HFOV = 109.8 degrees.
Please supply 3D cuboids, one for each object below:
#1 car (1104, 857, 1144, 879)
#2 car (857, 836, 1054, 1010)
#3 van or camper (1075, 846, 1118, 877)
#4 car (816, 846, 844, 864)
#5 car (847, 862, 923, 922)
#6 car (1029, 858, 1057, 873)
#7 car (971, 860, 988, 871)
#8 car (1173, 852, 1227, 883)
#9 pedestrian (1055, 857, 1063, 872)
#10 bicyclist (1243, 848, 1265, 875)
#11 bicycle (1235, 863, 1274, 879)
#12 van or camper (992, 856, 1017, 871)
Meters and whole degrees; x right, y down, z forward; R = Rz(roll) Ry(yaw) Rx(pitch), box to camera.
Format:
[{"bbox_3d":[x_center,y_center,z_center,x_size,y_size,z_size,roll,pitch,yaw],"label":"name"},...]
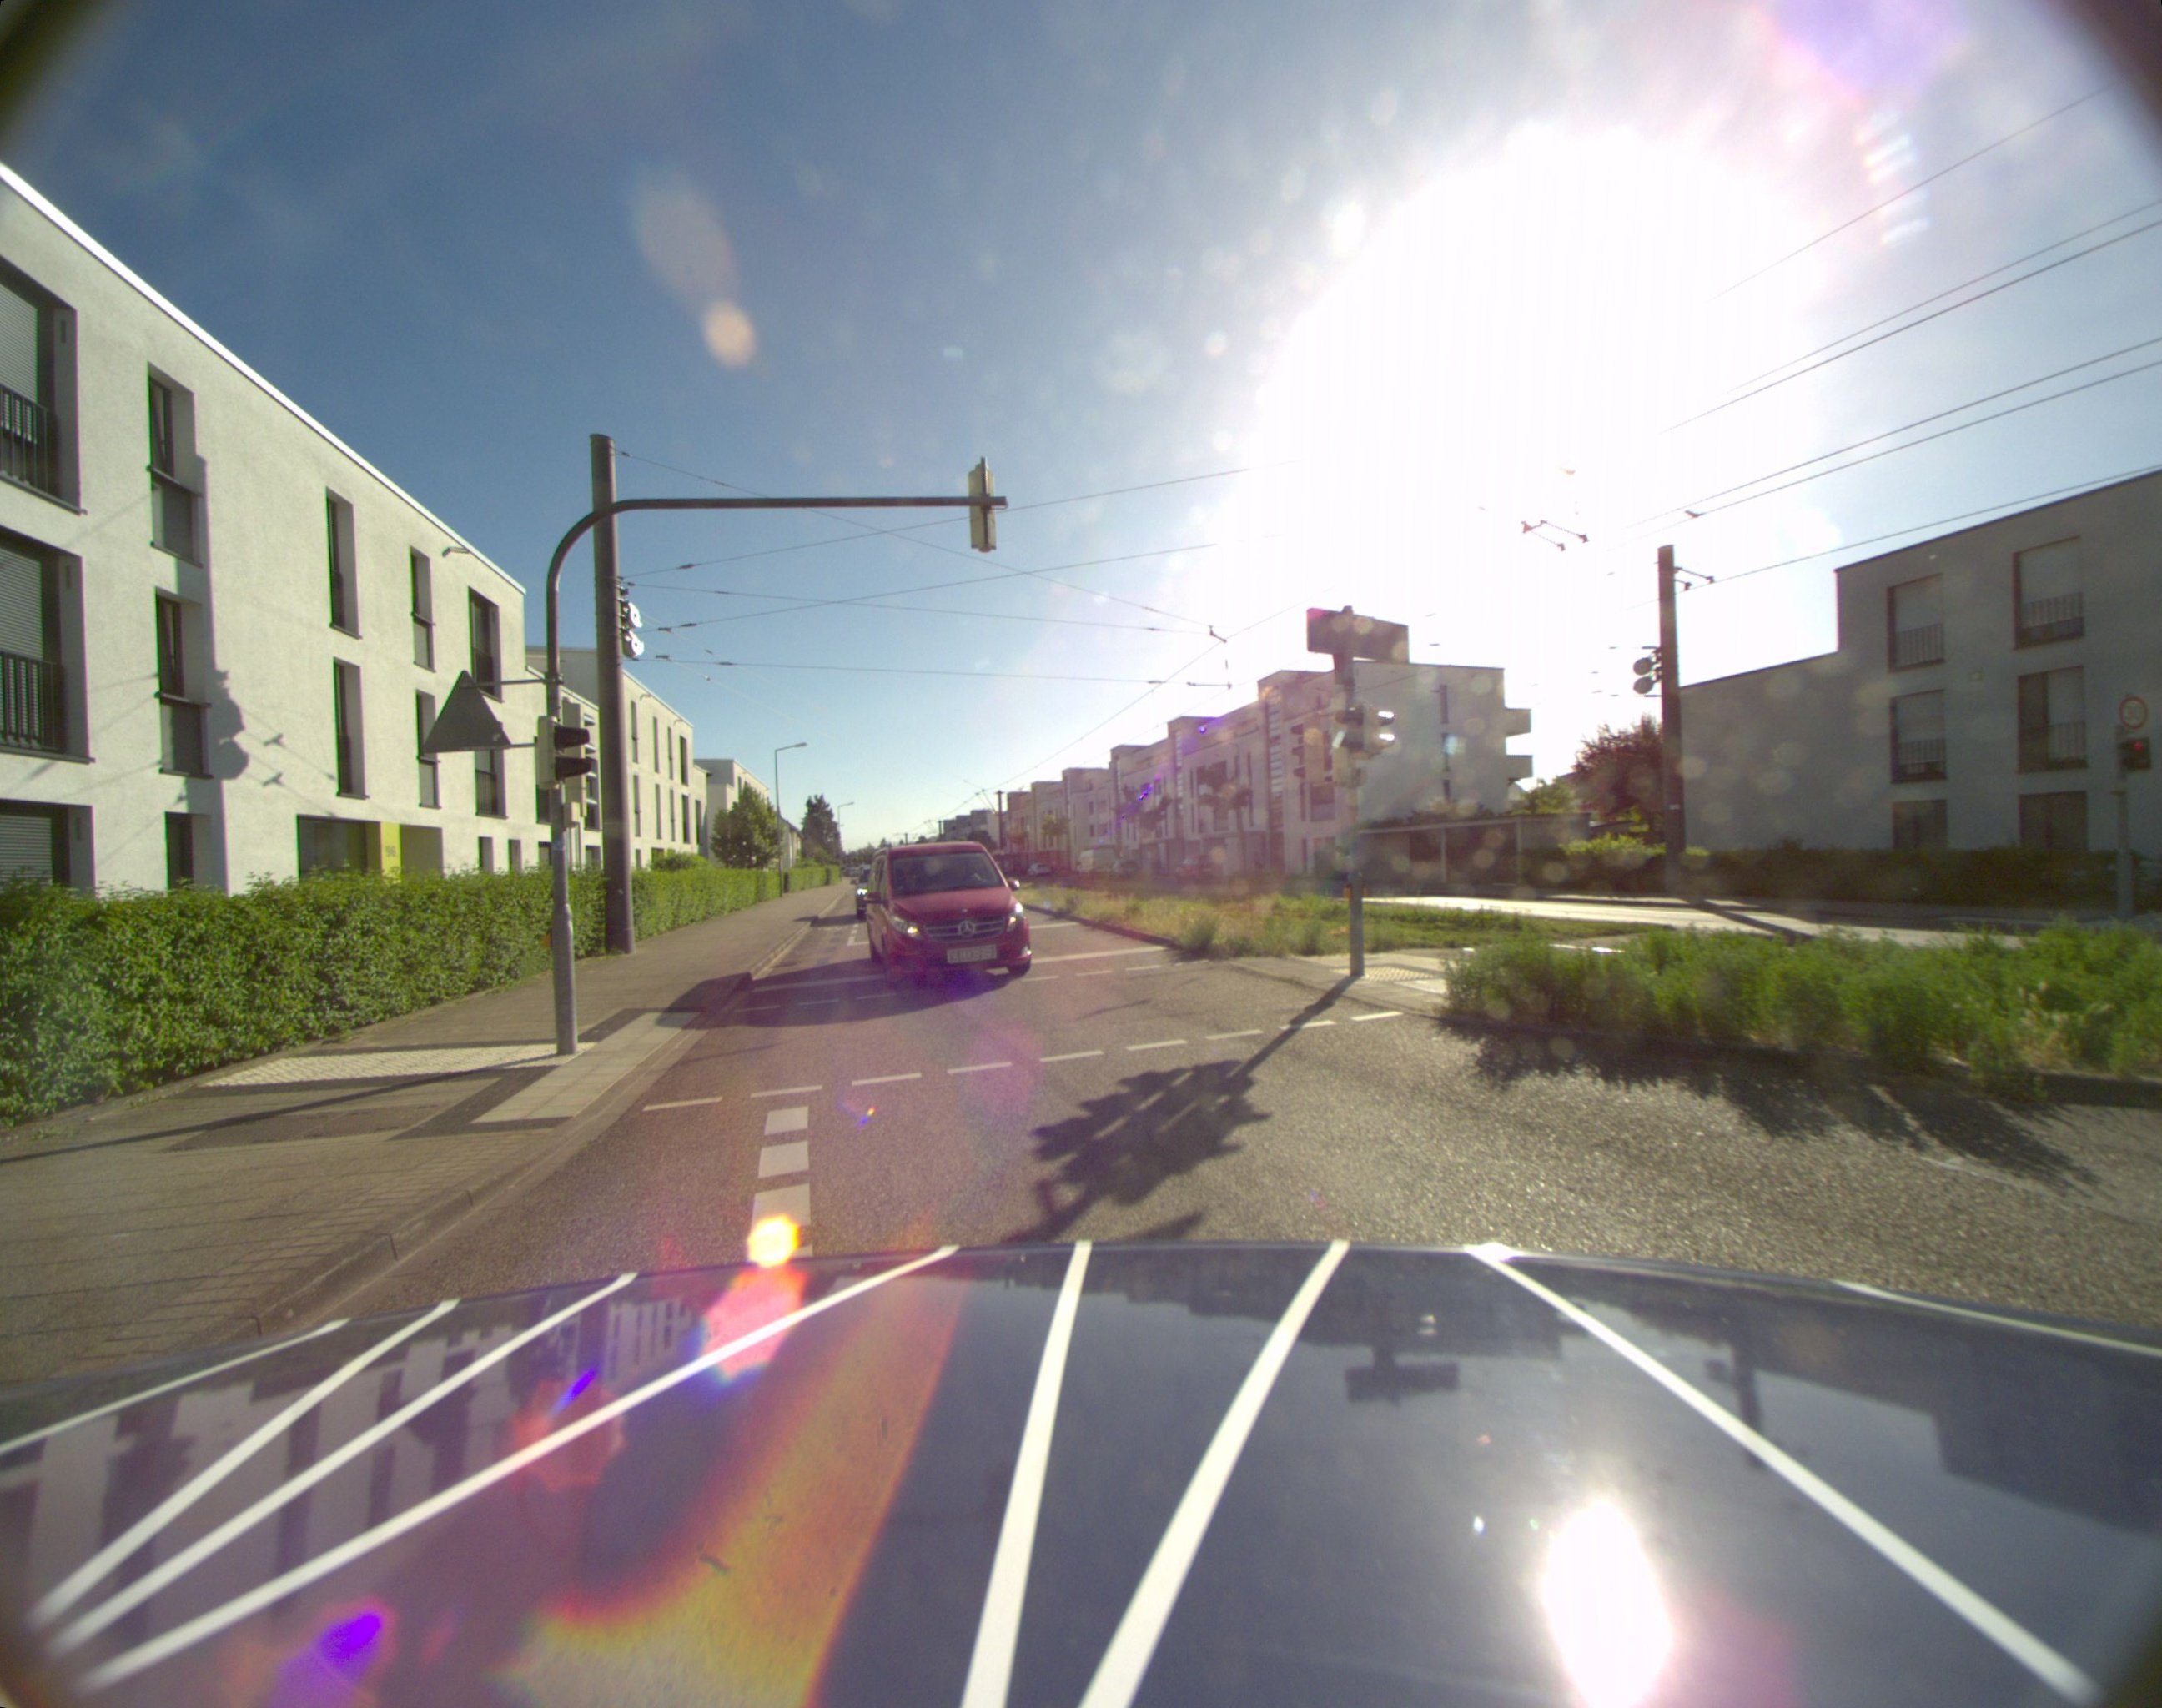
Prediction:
[{"bbox_3d":[3.242,1.065,58.450,1.937,1.603,3.831,-2,0,-15],"label":"car"},{"bbox_3d":[-2.215,0.856,11.773,2.130,1.958,5.076,-4,0,-18],"label":"car"},{"bbox_3d":[1.293,0.633,64.825,2.200,2.450,5.253,-2,0,-15],"label":"van or camper"},{"bbox_3d":[-36.939,0.169,111.968,3.186,2.333,6.167,-4,1,-14],"label":"car"},{"bbox_3d":[-6.570,1.159,25.152,2.001,1.663,4.401,-4,1,-19],"label":"car"},{"bbox_3d":[-4.296,1.237,84.680,2.049,1.577,4.115,-2,0,-18],"label":"car"},{"bbox_3d":[-15.451,1.746,115.773,1.869,1.430,3.491,-4,2,-19],"label":"car"},{"bbox_3d":[7.051,0.785,45.287,1.796,1.713,3.903,-1,0,-14],"label":"car"},{"bbox_3d":[-2.574,1.183,87.669,0.620,1.634,0.612,-4,1,-22],"label":"pedestrian"},{"bbox_3d":[9.896,0.416,43.476,0.893,1.482,0.745,-2,0,-21],"label":"bicyclist"},{"bbox_3d":[9.902,0.953,43.478,0.903,0.887,2.480,-2,0,-20],"label":"bicycle"},{"bbox_3d":[-10.616,1.337,105.220,2.275,1.837,6.277,-3,0,-16],"label":"van or camper"}]
